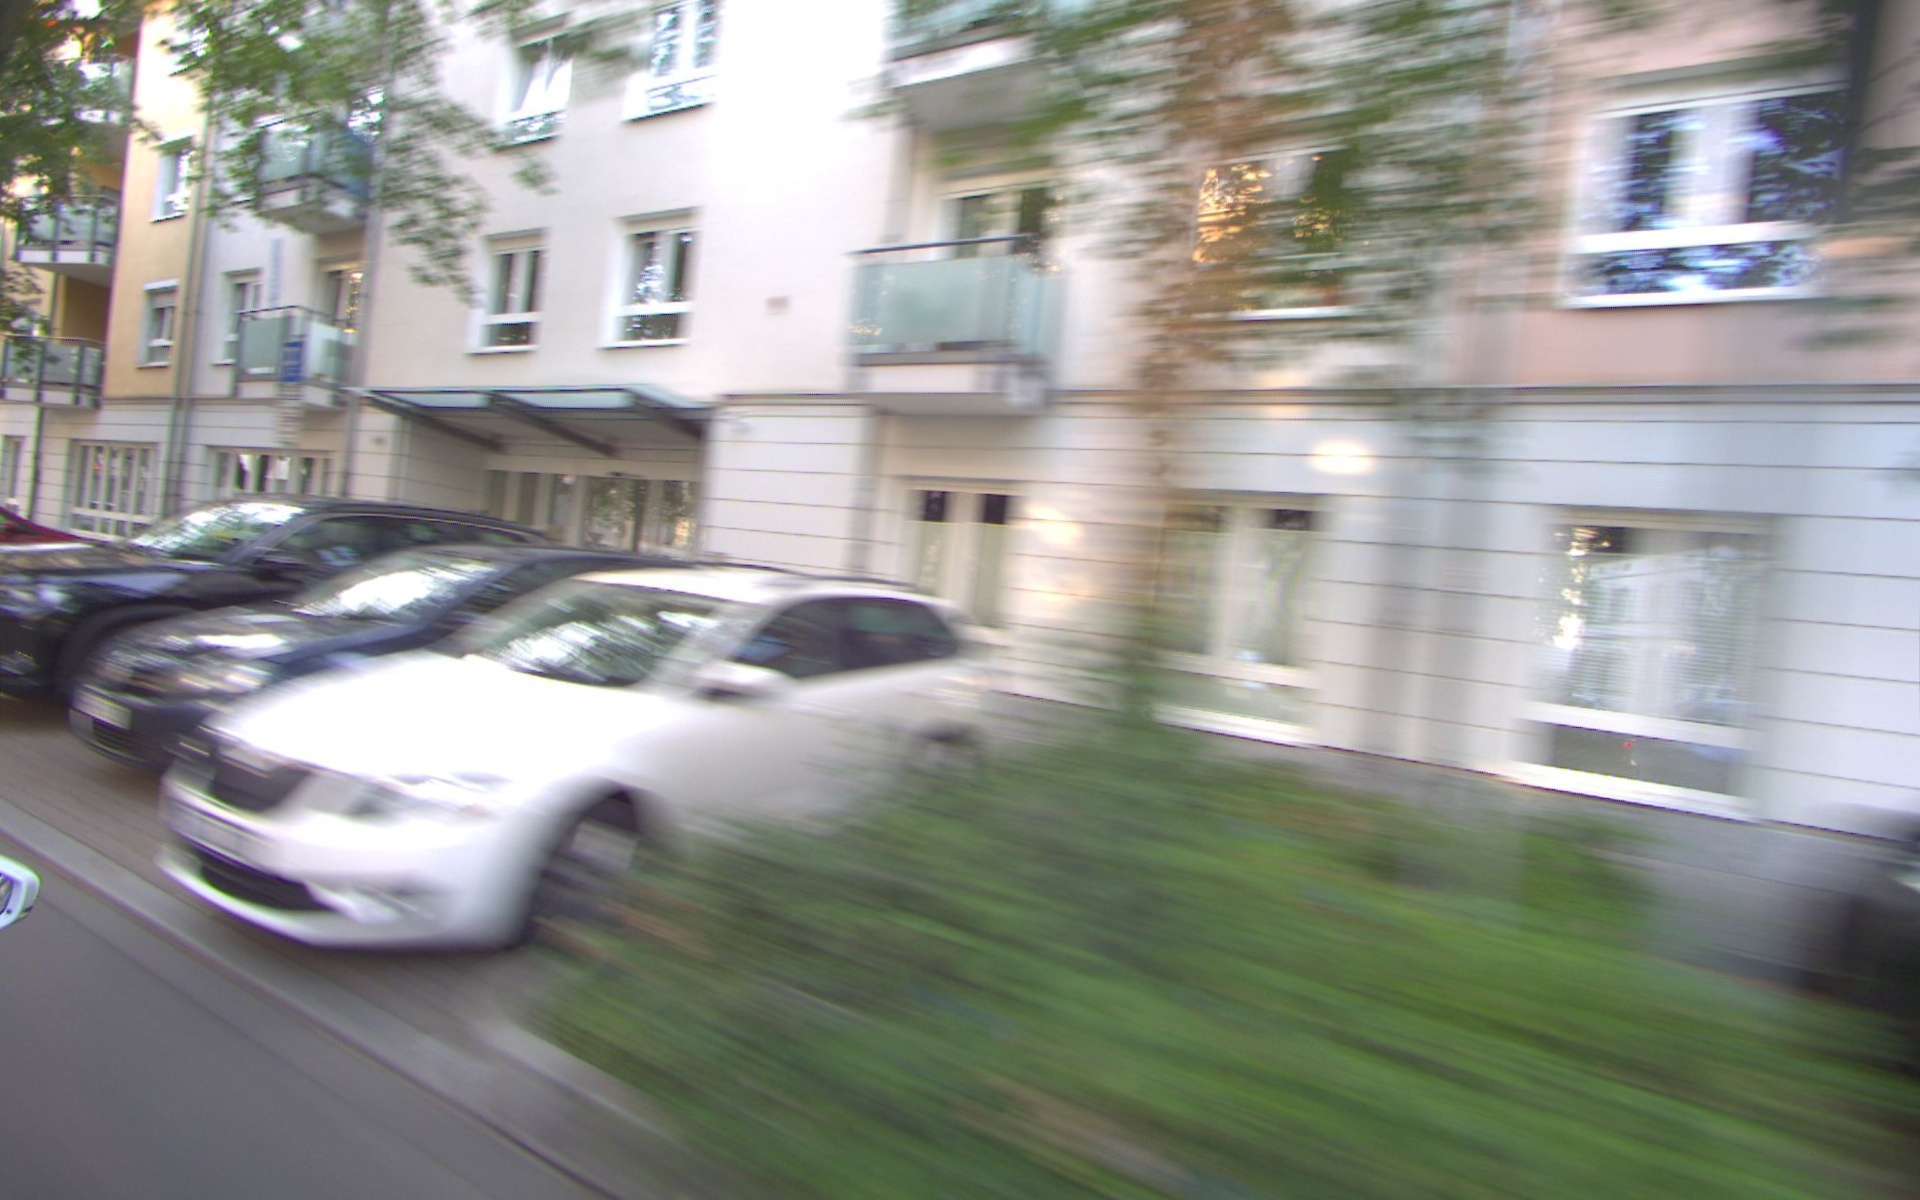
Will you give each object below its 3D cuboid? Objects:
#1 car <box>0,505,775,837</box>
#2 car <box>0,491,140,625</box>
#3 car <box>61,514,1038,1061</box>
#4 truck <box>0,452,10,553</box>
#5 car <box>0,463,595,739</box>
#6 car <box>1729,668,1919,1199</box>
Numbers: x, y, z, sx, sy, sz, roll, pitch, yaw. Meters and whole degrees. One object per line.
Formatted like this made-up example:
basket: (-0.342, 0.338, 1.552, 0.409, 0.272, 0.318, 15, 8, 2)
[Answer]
car: (-3.475, 0.312, 6.913, 1.898, 1.458, 4.221, 7, 3, 33)
car: (-12.810, -0.675, 12.316, 1.845, 1.563, 3.784, 7, -1, 29)
car: (-1.439, 0.561, 5.319, 1.766, 1.488, 4.602, 7, 2, 30)
truck: (-20.740, -1.961, 17.322, 2.176, 2.339, 5.896, 7, -1, 31)
car: (-5.575, -0.064, 8.319, 1.975, 1.639, 4.646, 7, 3, 27)
car: (3.657, 1.123, 2.430, 1.900, 1.471, 4.088, 7, 2, 25)
